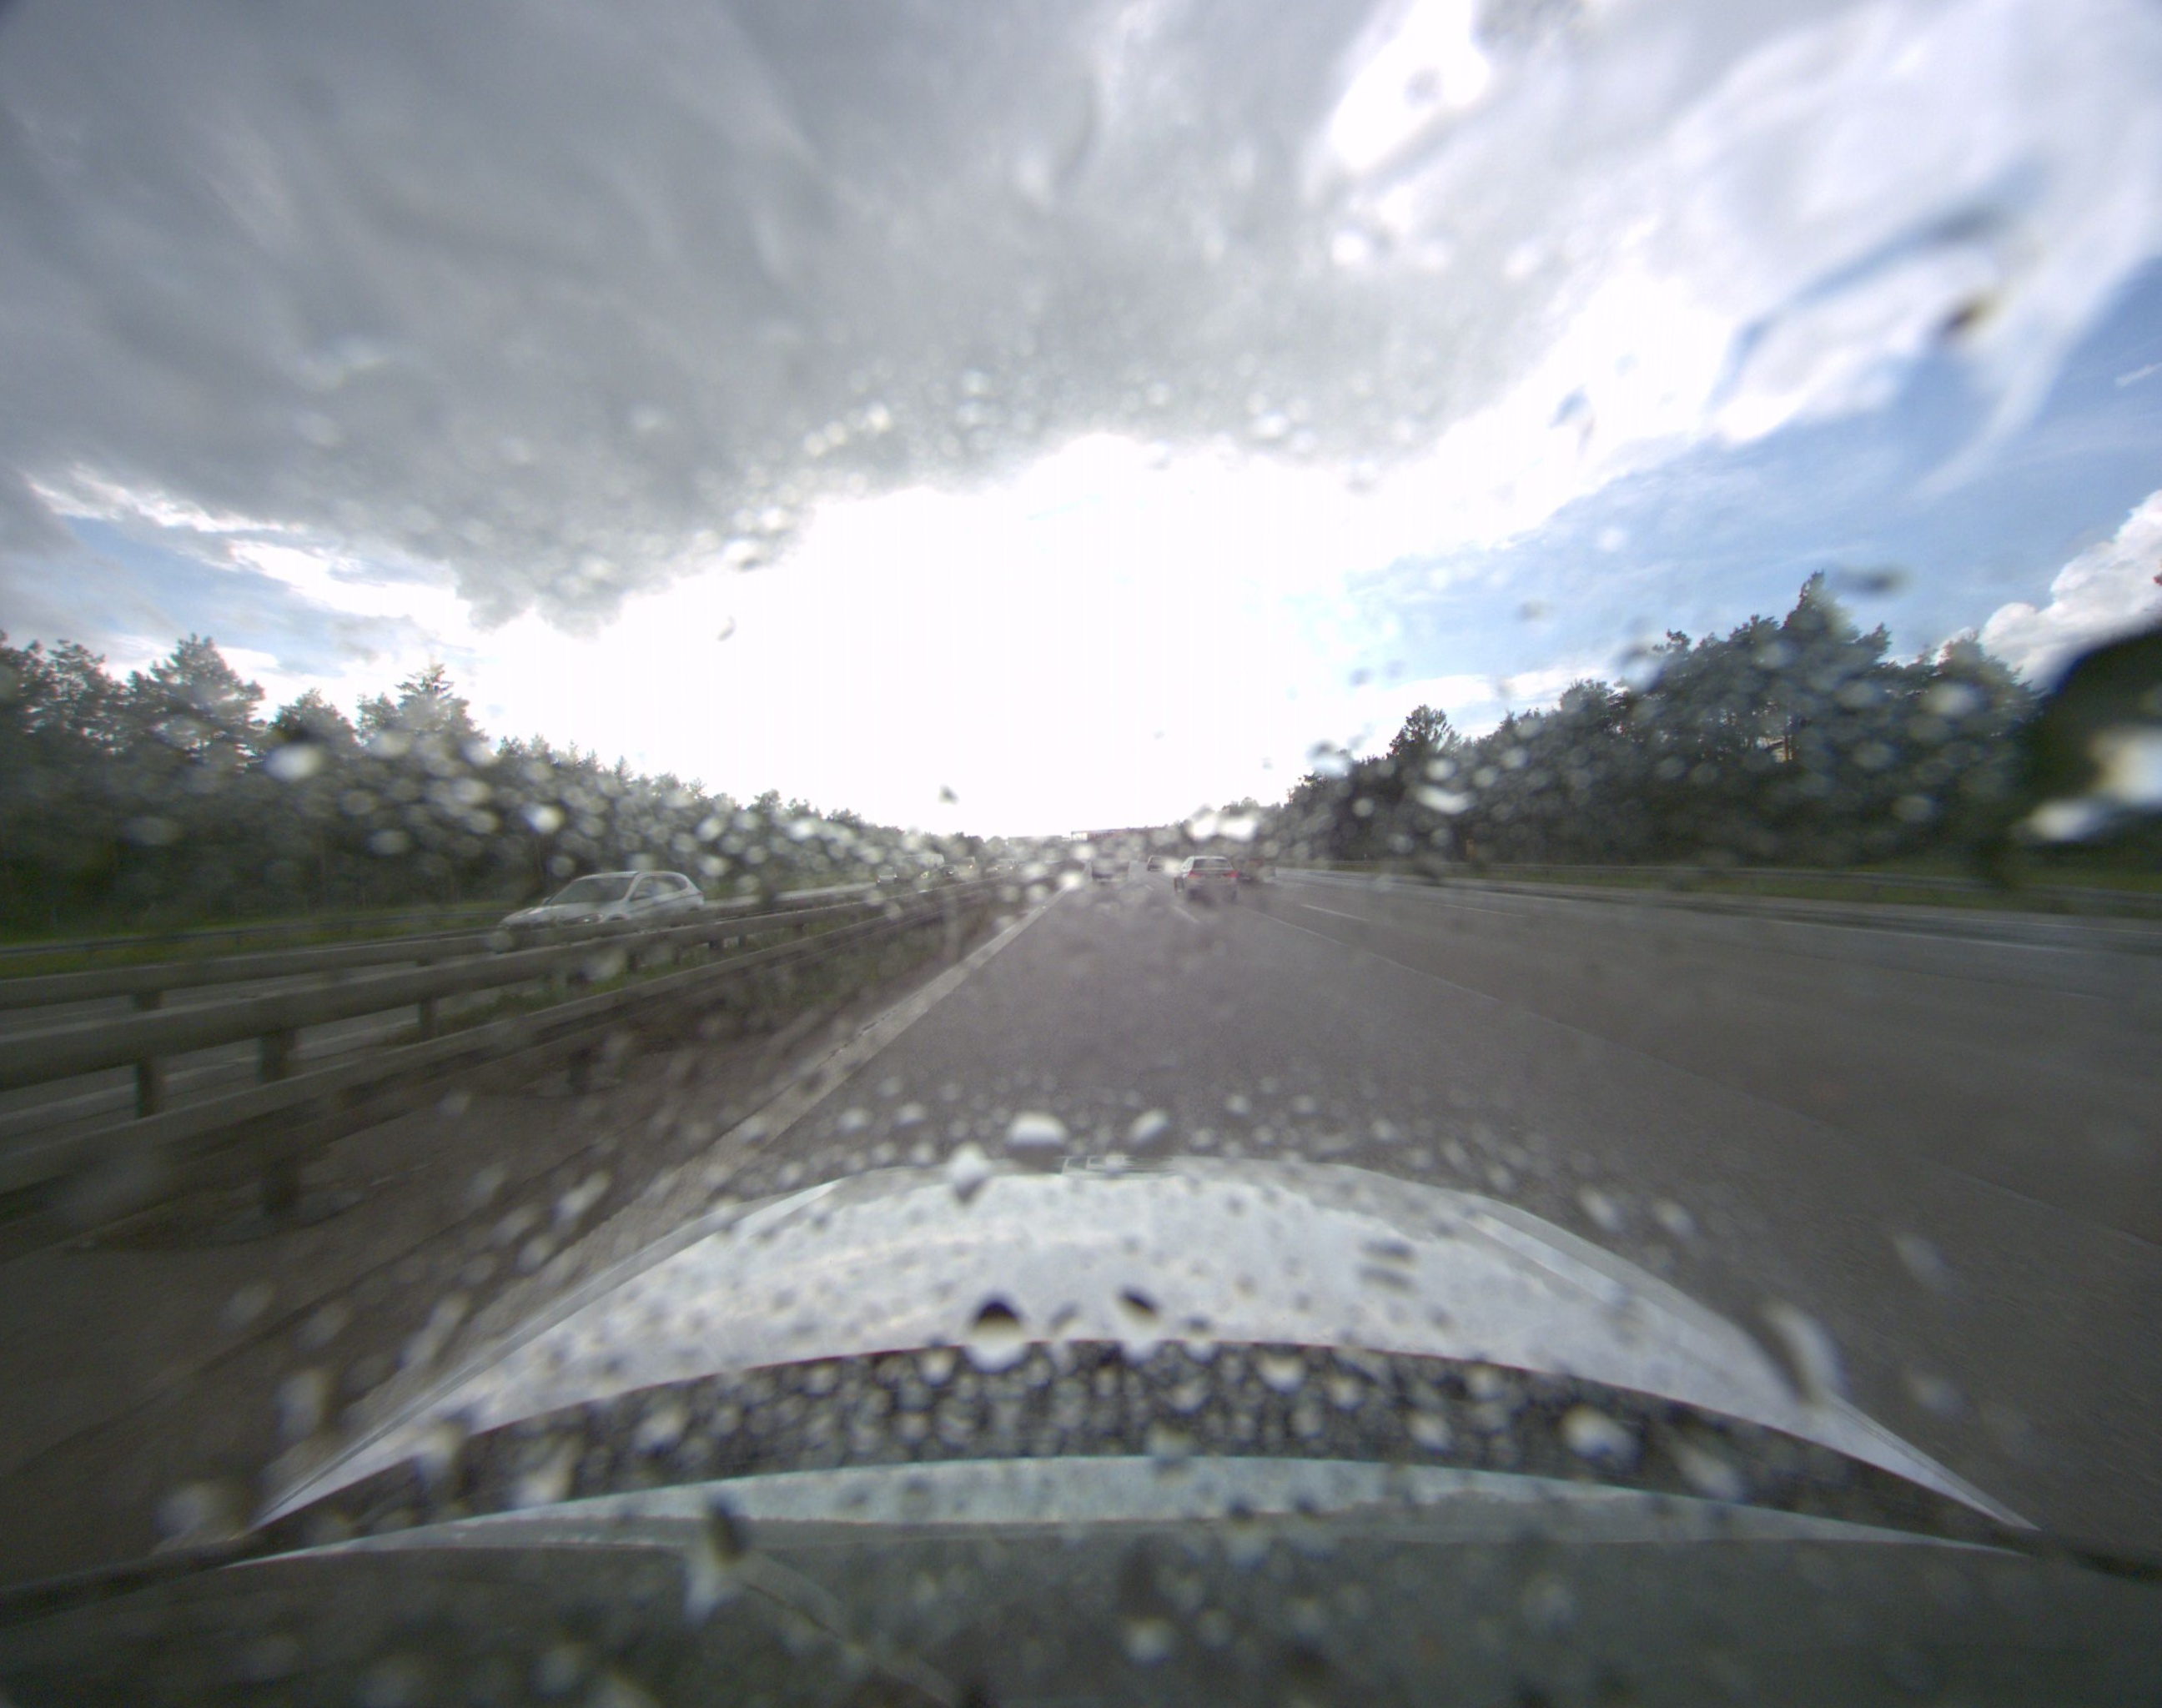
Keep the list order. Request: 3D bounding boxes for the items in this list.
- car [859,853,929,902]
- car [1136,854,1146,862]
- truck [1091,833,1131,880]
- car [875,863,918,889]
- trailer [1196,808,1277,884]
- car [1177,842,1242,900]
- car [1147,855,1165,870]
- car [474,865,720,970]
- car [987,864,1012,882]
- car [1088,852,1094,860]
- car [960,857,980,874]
[{"bbox_3d":[-8.532,1.027,37.567,1.986,2.013,4.628,-2,0,1],"label":"car"},{"bbox_3d":[13.235,0.937,179.711,1.735,1.688,3.999,-1,0,0],"label":"car"},{"bbox_3d":[1.742,0.108,46.485,2.129,2.489,5.316,-1,0,2],"label":"truck"},{"bbox_3d":[-11.741,1.357,52.071,1.692,1.488,4.001,-2,0,1],"label":"car"},{"bbox_3d":[9.174,-0.407,49.693,2.316,4.001,13.410,-1,0,0],"label":"trailer"},{"bbox_3d":[4.558,0.562,29.391,2.067,1.885,5.021,-1,0,7],"label":"car"},{"bbox_3d":[7.736,0.842,84.344,1.822,1.466,4.005,-1,0,4],"label":"car"},{"bbox_3d":[-8.899,1.063,15.533,1.853,1.589,4.492,-2,0,2],"label":"car"},{"bbox_3d":[-7.594,1.785,75.744,1.764,1.539,4.001,-2,0,1],"label":"car"},{"bbox_3d":[2.586,0.427,214.591,1.612,2.013,3.999,0,0,0],"label":"car"},{"bbox_3d":[-18.031,1.809,133.110,2.091,2.510,6.585,-4,0,1],"label":"car"}]
